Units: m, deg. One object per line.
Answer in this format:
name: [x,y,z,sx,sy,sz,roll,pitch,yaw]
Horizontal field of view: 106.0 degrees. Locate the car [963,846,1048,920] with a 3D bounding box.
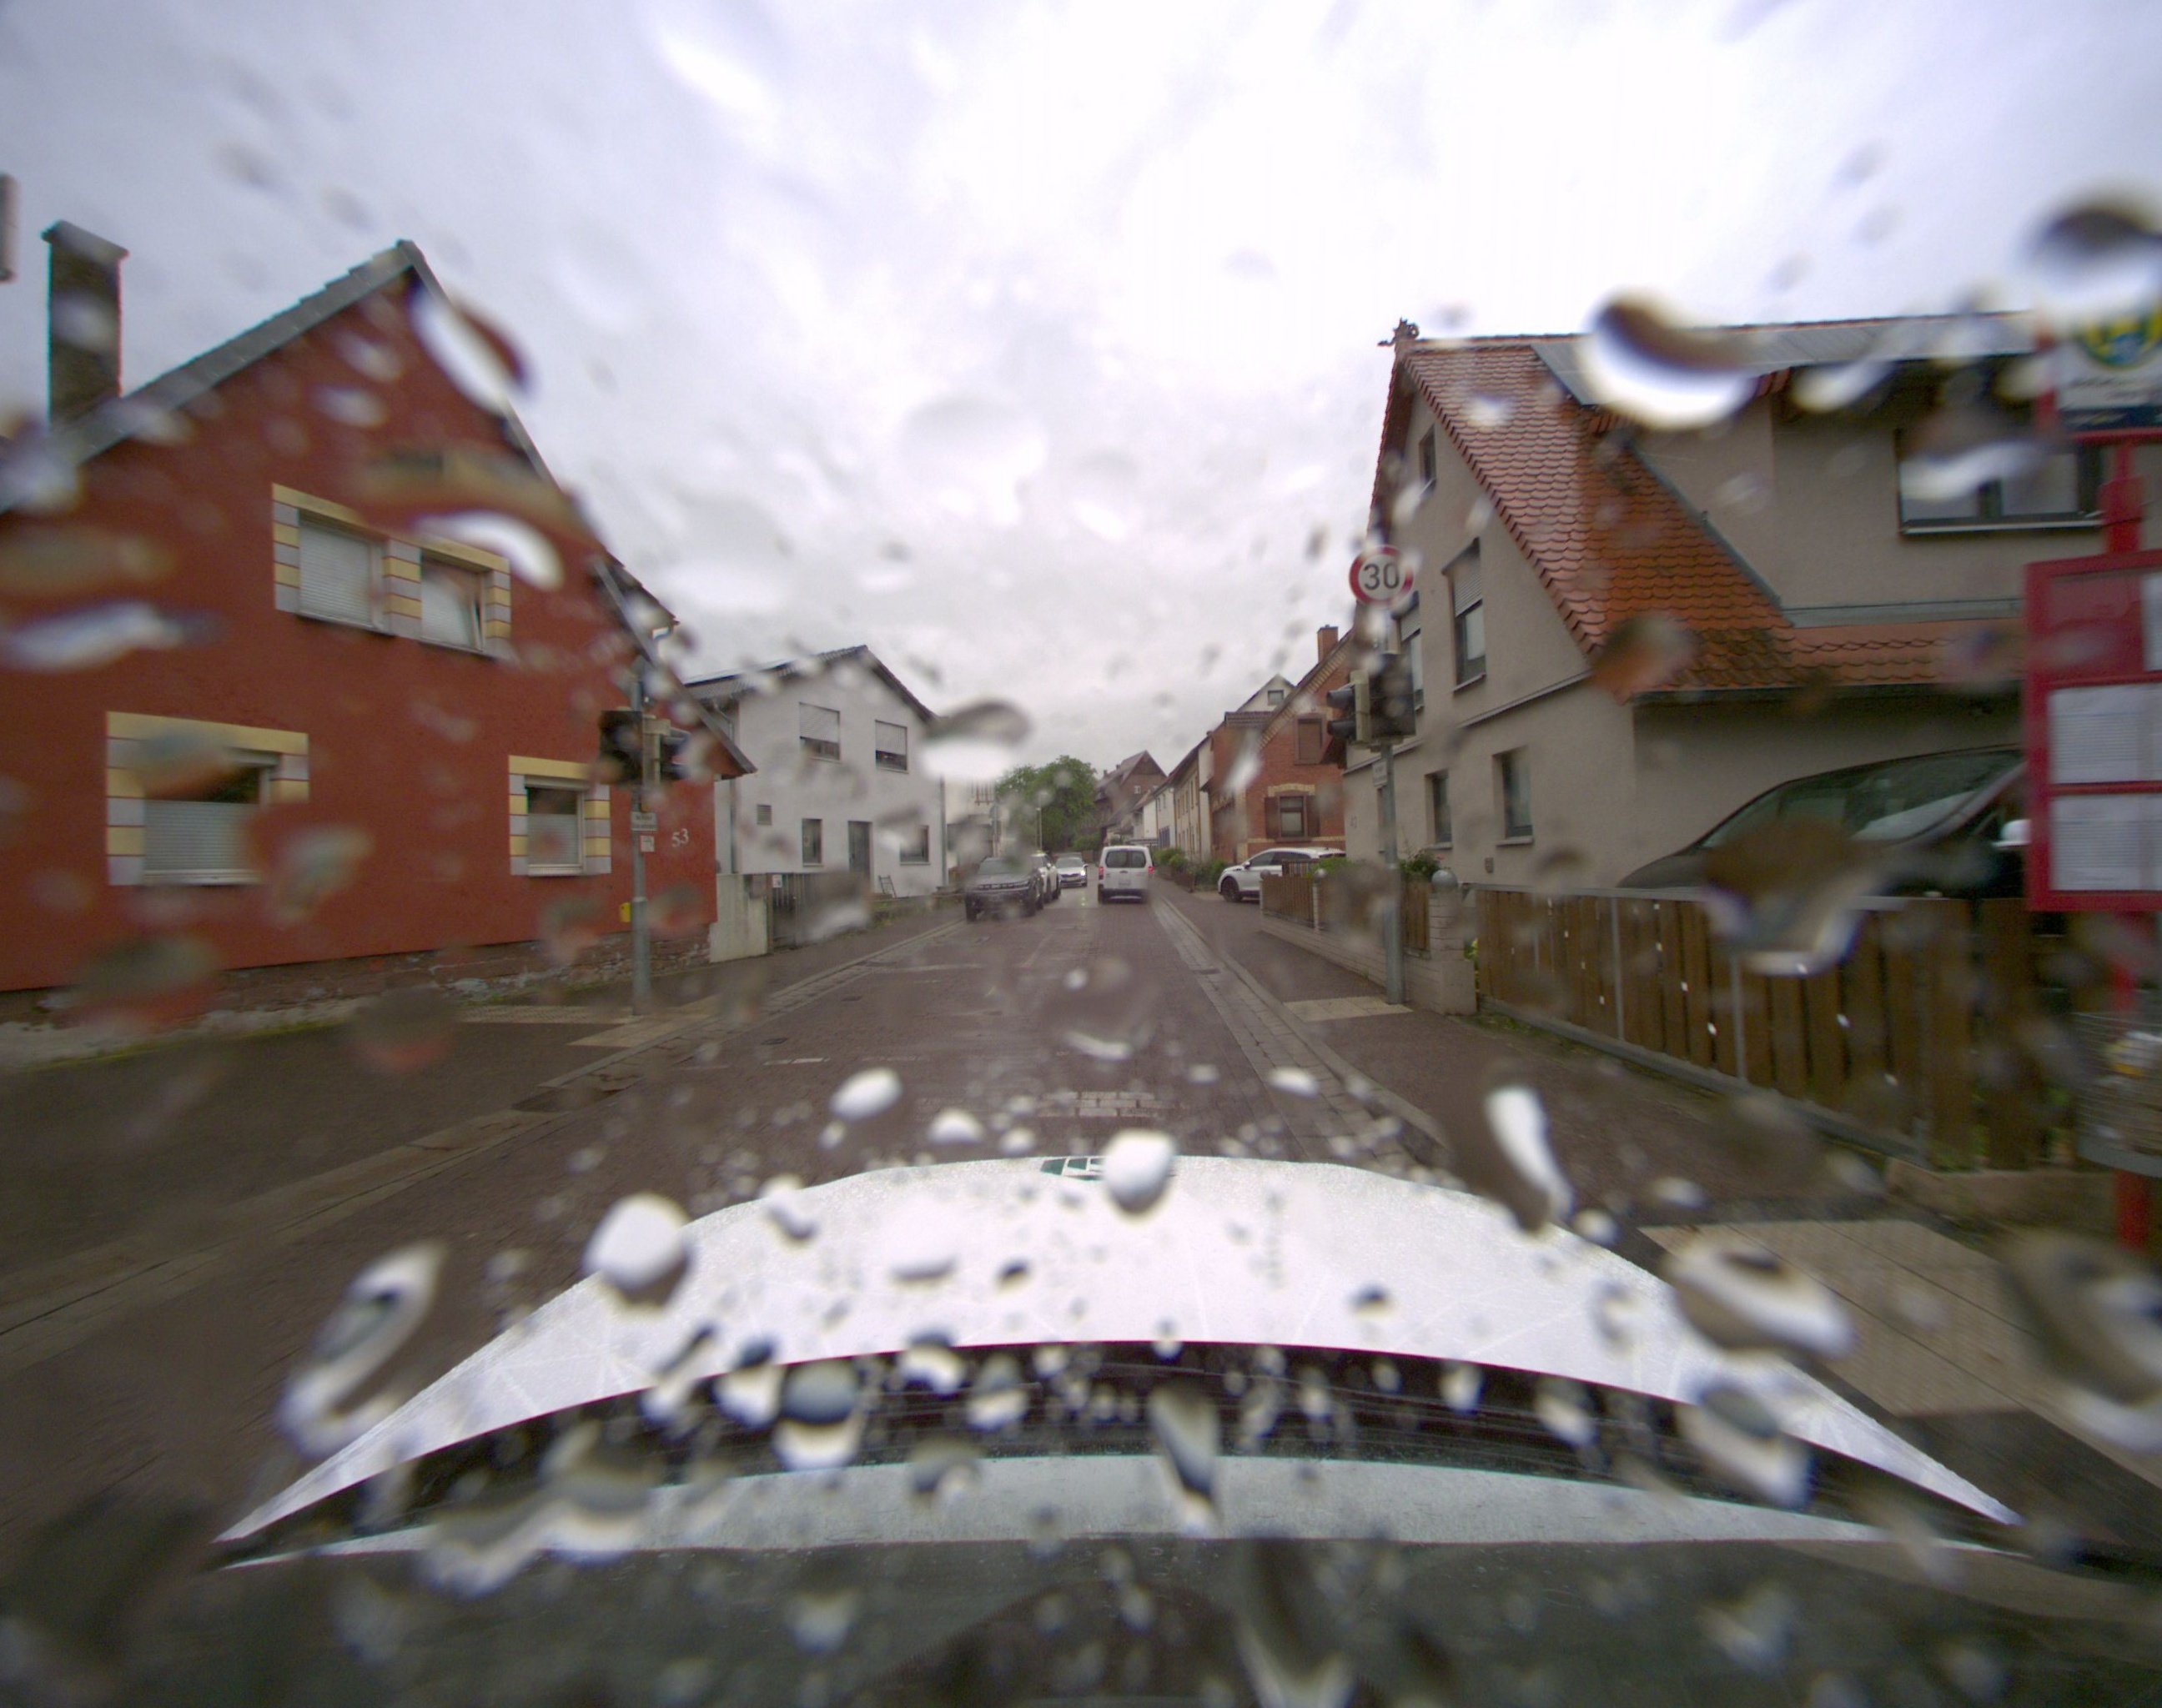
car: [-1.966,0.694,22.396,1.806,1.779,4.018,-2,1,1]

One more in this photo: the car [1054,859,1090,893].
car: [-0.509,1.174,41.272,1.684,1.565,3.929,-2,-3,-2]

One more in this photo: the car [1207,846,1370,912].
car: [5.751,0.605,23.175,1.882,1.590,4.576,-1,2,-30]

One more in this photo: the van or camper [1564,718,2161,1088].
van or camper: [6.150,0.257,5.219,5.053,1.923,1.875,0,0,-1]

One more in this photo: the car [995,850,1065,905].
car: [-1.685,0.788,28.494,1.741,1.636,4.423,-4,-1,4]

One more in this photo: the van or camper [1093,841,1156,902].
van or camper: [1.416,0.526,26.870,1.935,1.851,4.003,0,0,2]

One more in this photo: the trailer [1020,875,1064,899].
trailer: [-1.502,1.280,32.201,1.477,0.829,2.677,-4,-1,2]
